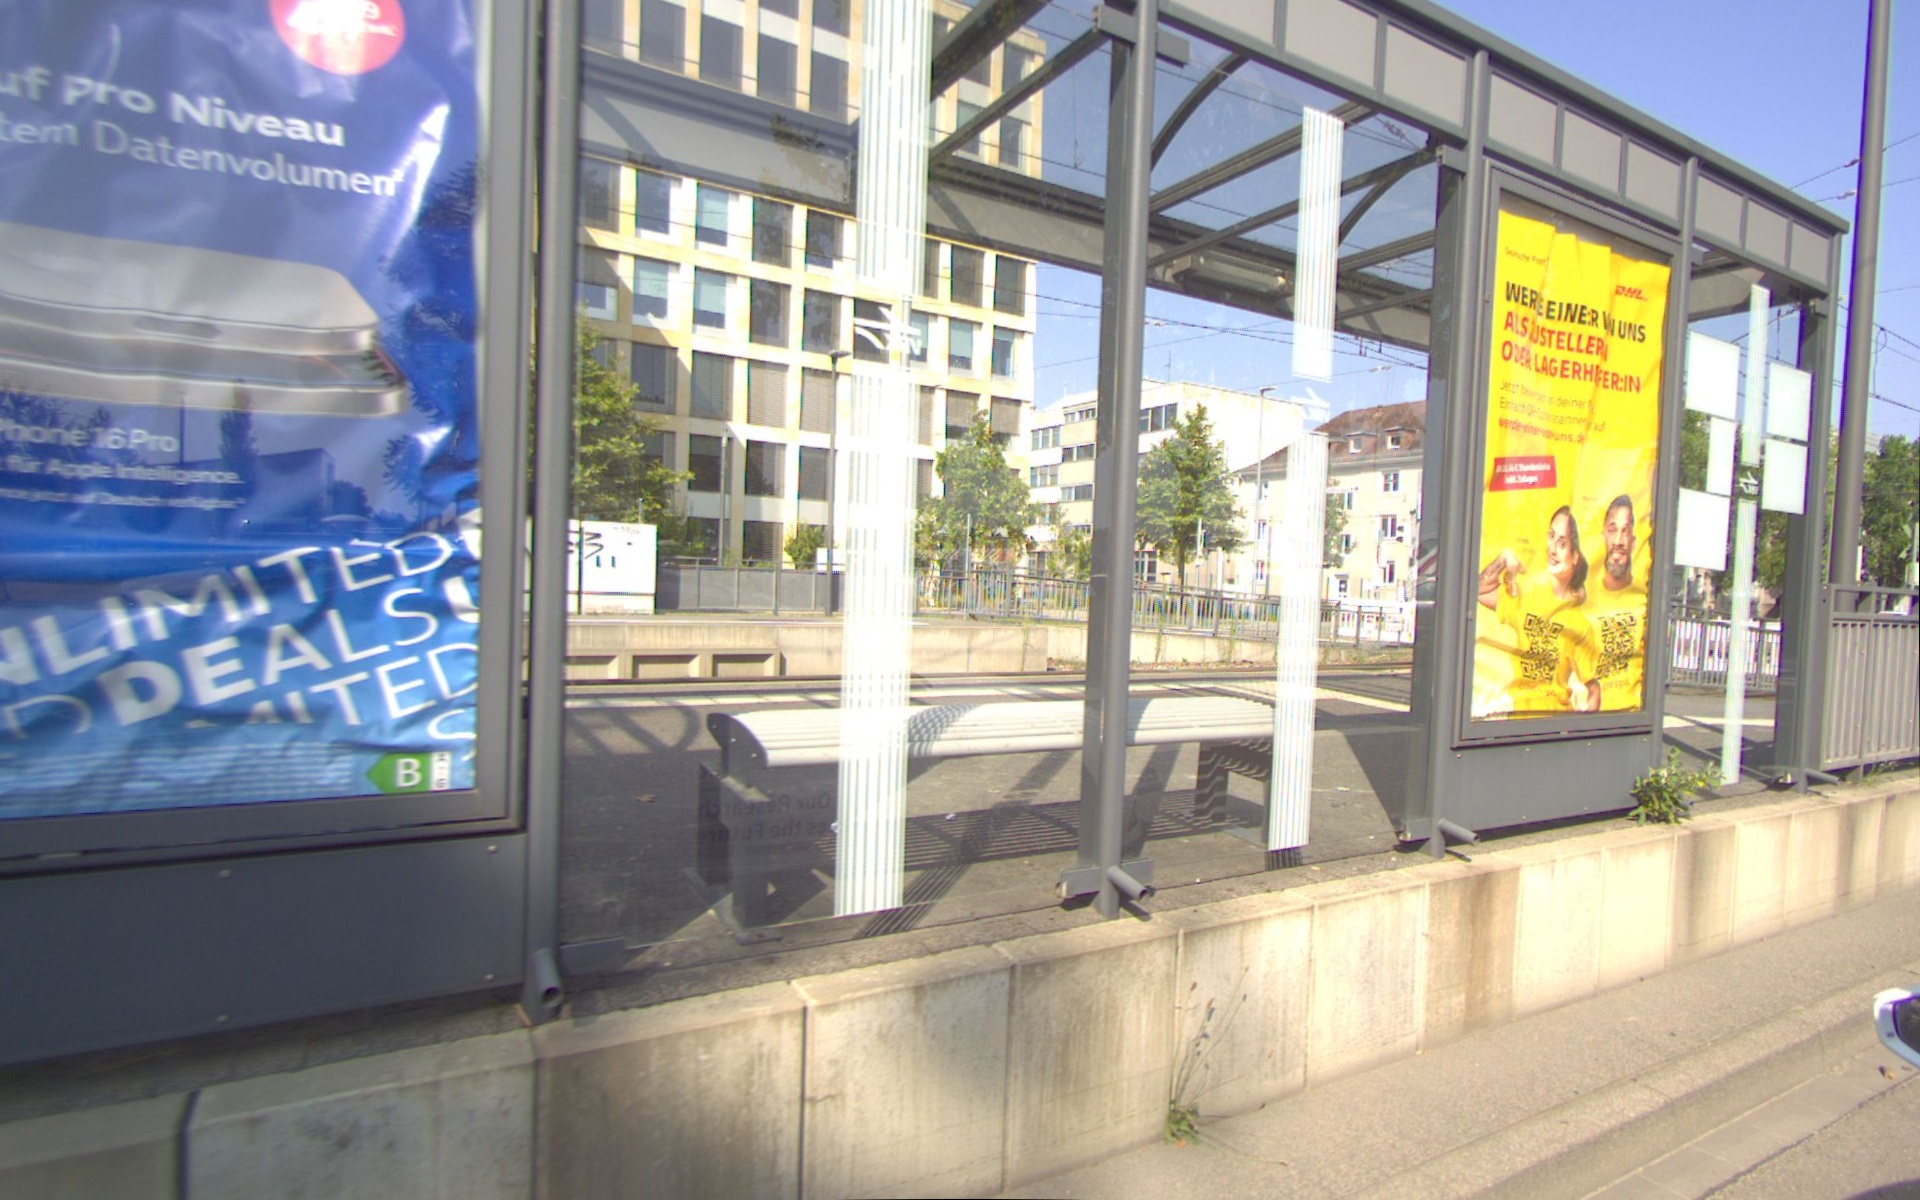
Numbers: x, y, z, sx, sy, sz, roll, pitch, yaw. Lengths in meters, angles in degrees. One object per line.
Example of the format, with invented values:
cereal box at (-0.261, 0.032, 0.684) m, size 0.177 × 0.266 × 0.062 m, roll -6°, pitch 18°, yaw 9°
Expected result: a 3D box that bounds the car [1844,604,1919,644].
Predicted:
car at (45.604, 1.205, 49.519) m, size 3.955 × 1.862 × 1.983 m, roll 2°, pitch -2°, yaw -32°
